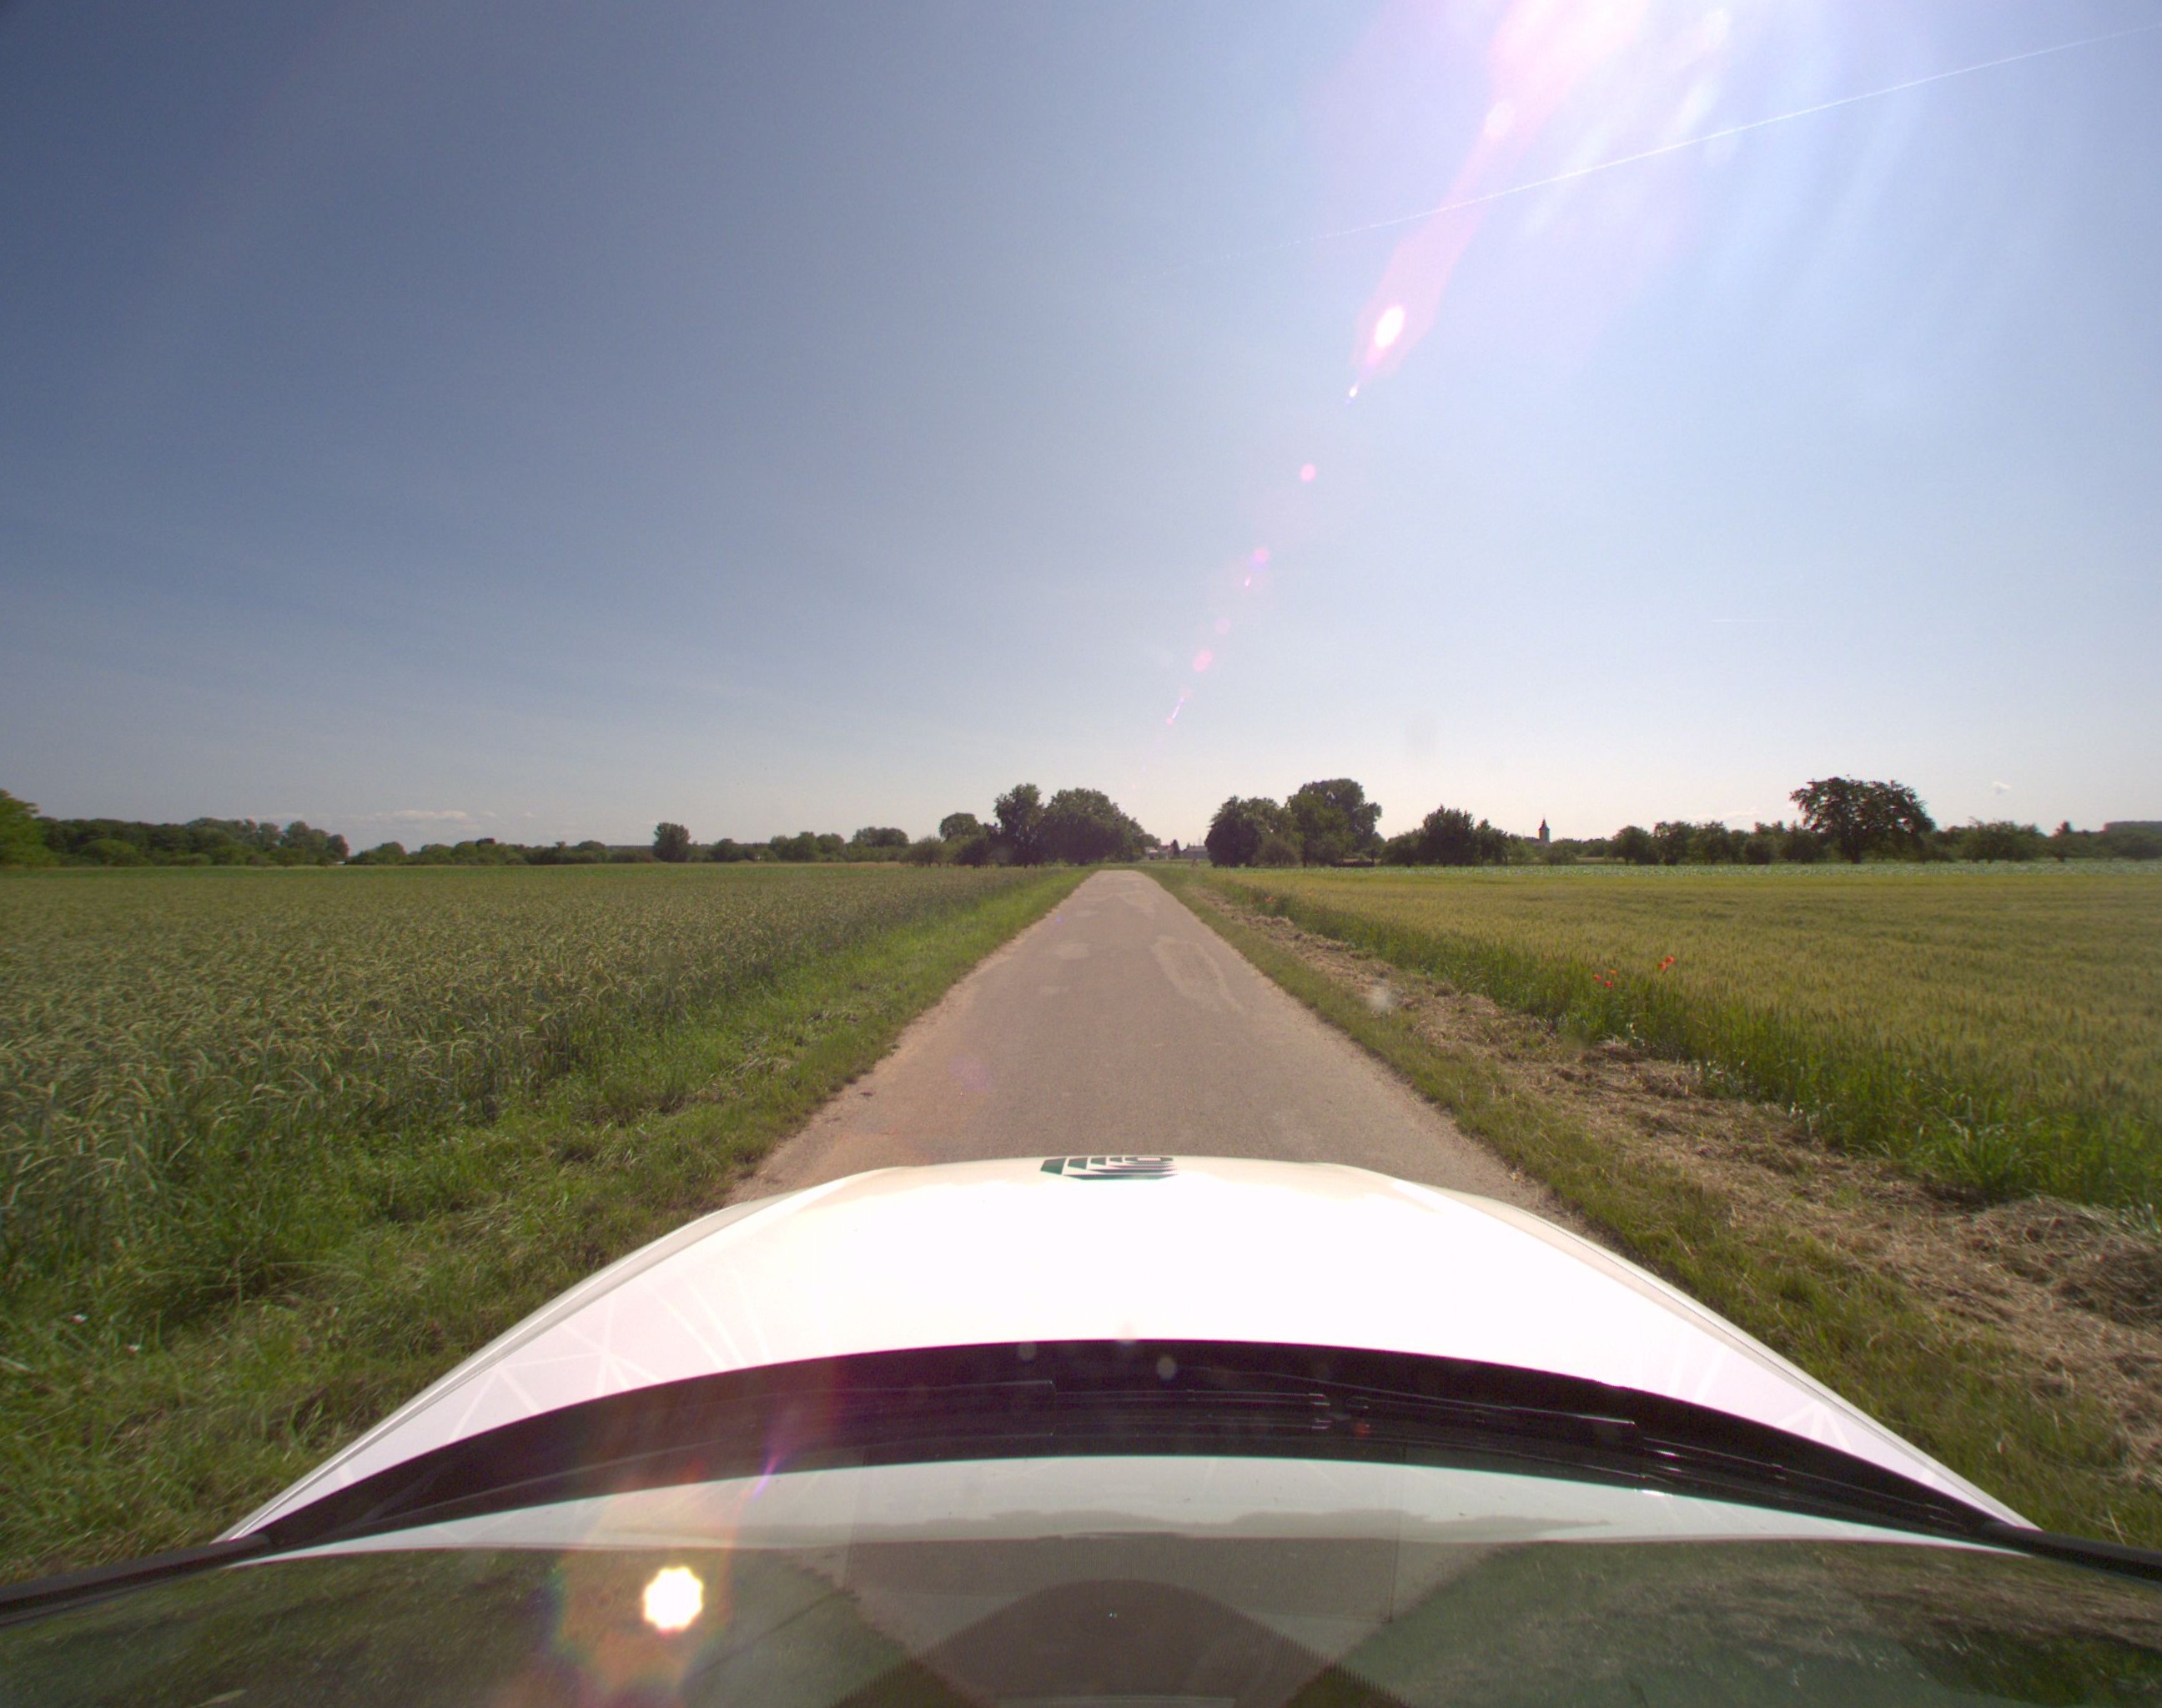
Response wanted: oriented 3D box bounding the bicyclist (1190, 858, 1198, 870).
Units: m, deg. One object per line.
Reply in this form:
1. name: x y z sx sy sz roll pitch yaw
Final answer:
1. bicyclist: 16.853 1.488 121.446 0.743 1.791 0.721 -3 -2 38

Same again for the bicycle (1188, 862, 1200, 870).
1. bicycle: 16.859 1.810 121.436 0.743 1.127 1.920 -3 -1 38
